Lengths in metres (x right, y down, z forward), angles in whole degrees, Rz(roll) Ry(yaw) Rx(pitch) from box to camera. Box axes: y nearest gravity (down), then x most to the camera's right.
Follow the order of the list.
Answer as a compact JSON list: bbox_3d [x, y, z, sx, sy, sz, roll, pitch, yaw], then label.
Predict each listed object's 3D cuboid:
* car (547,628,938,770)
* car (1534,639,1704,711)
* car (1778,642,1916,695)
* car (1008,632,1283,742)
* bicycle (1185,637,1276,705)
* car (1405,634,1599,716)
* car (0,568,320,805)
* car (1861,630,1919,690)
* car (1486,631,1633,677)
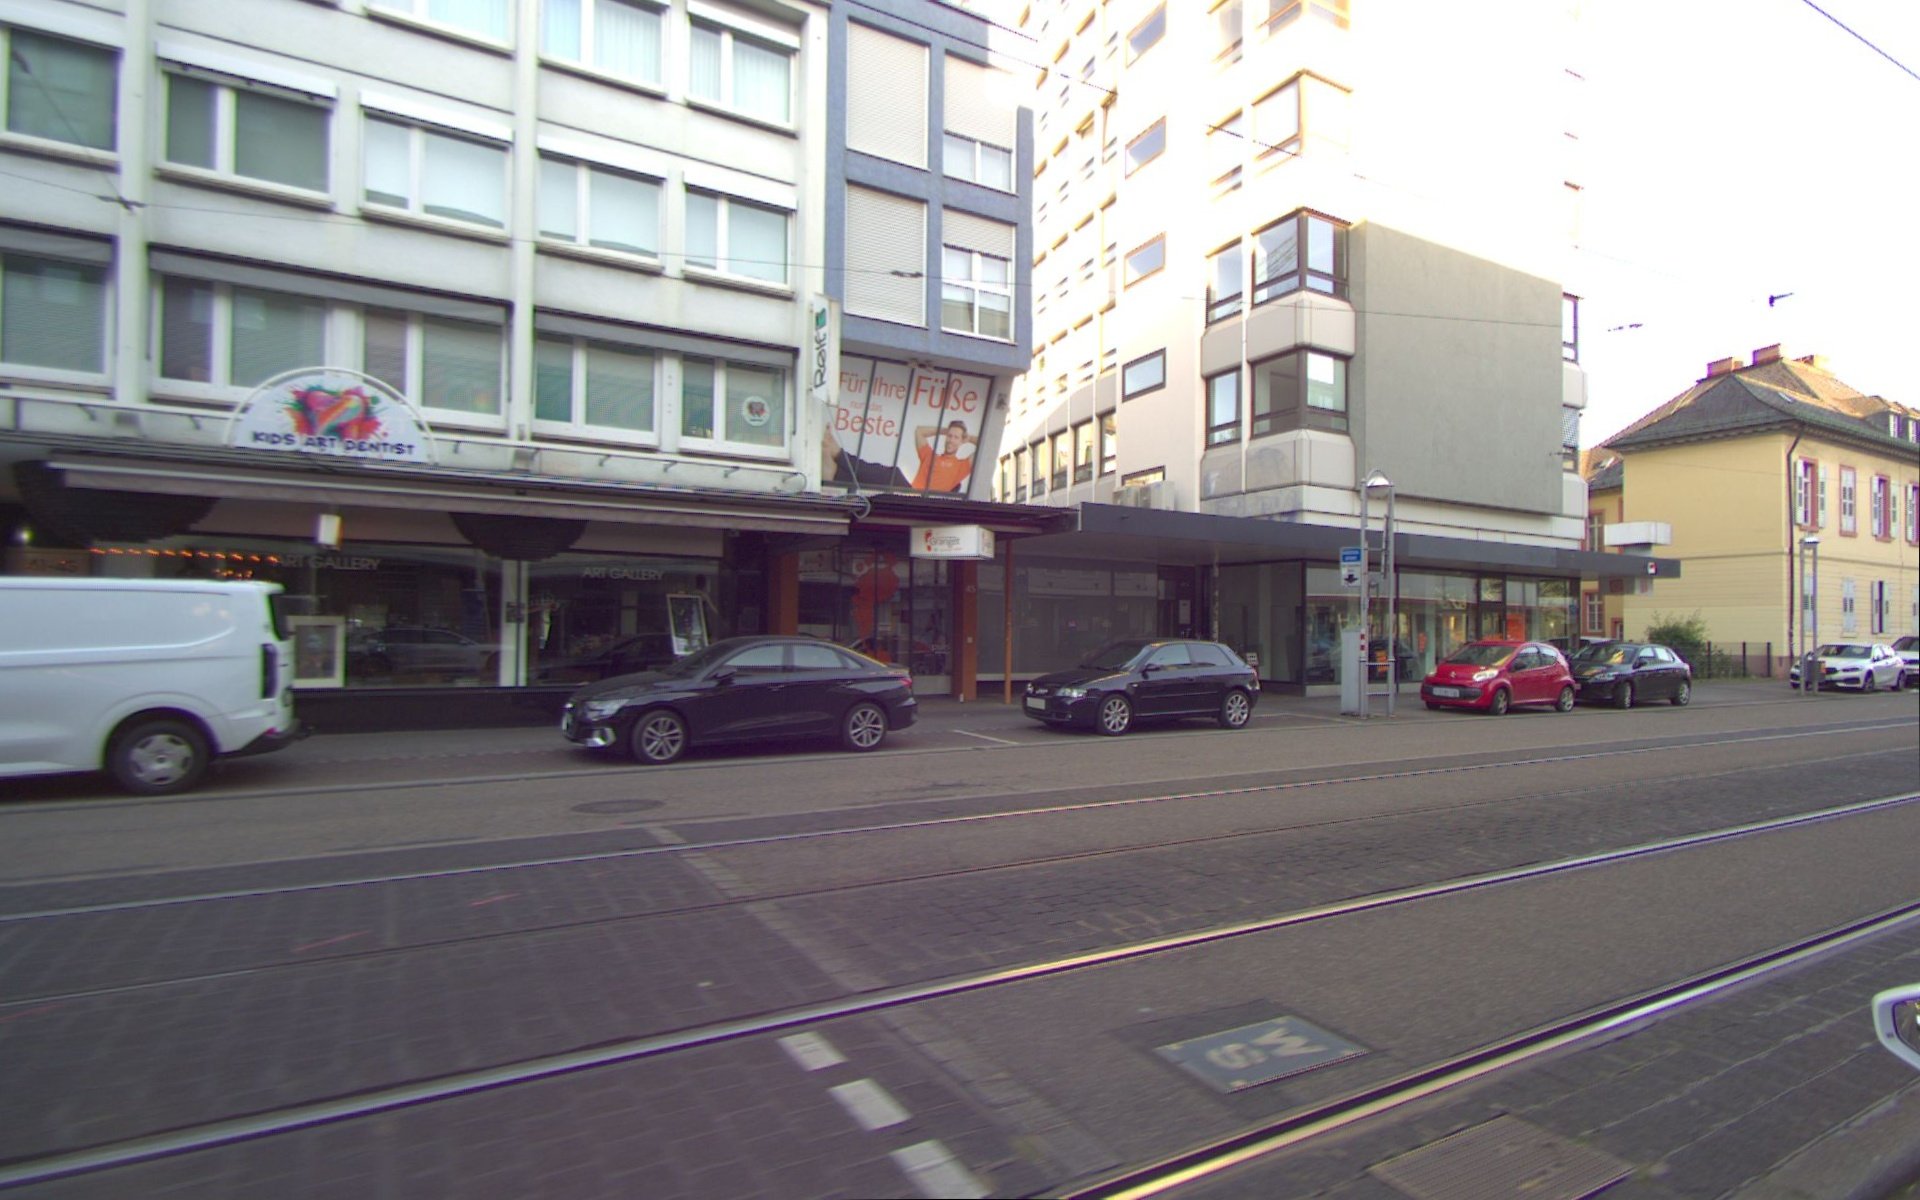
[{"bbox_3d":[-2.717,1.146,12.856,4.507,1.485,1.983,2,-1,-32],"label":"car"},{"bbox_3d":[15.520,1.708,23.631,4.165,1.532,1.678,2,-2,-30],"label":"car"},{"bbox_3d":[27.225,2.058,30.795,4.378,1.532,1.805,1,-2,-29],"label":"car"},{"bbox_3d":[3.059,1.323,16.263,4.396,1.532,1.677,2,-1,-32],"label":"car"},{"bbox_3d":[6.058,1.562,22.579,0.825,1.444,1.958,1,-2,-31],"label":"bicycle"},{"bbox_3d":[11.486,1.532,21.215,4.165,1.532,1.678,2,0,-30],"label":"car"},{"bbox_3d":[-8.914,0.751,9.153,5.104,2.003,1.945,2,-2,-32],"label":"car"},{"bbox_3d":[32.266,2.001,33.485,4.440,1.809,1.805,2,1,-27],"label":"car"},{"bbox_3d":[20.445,1.807,34.403,1.823,1.486,3.972,1,-2,-28],"label":"car"}]
